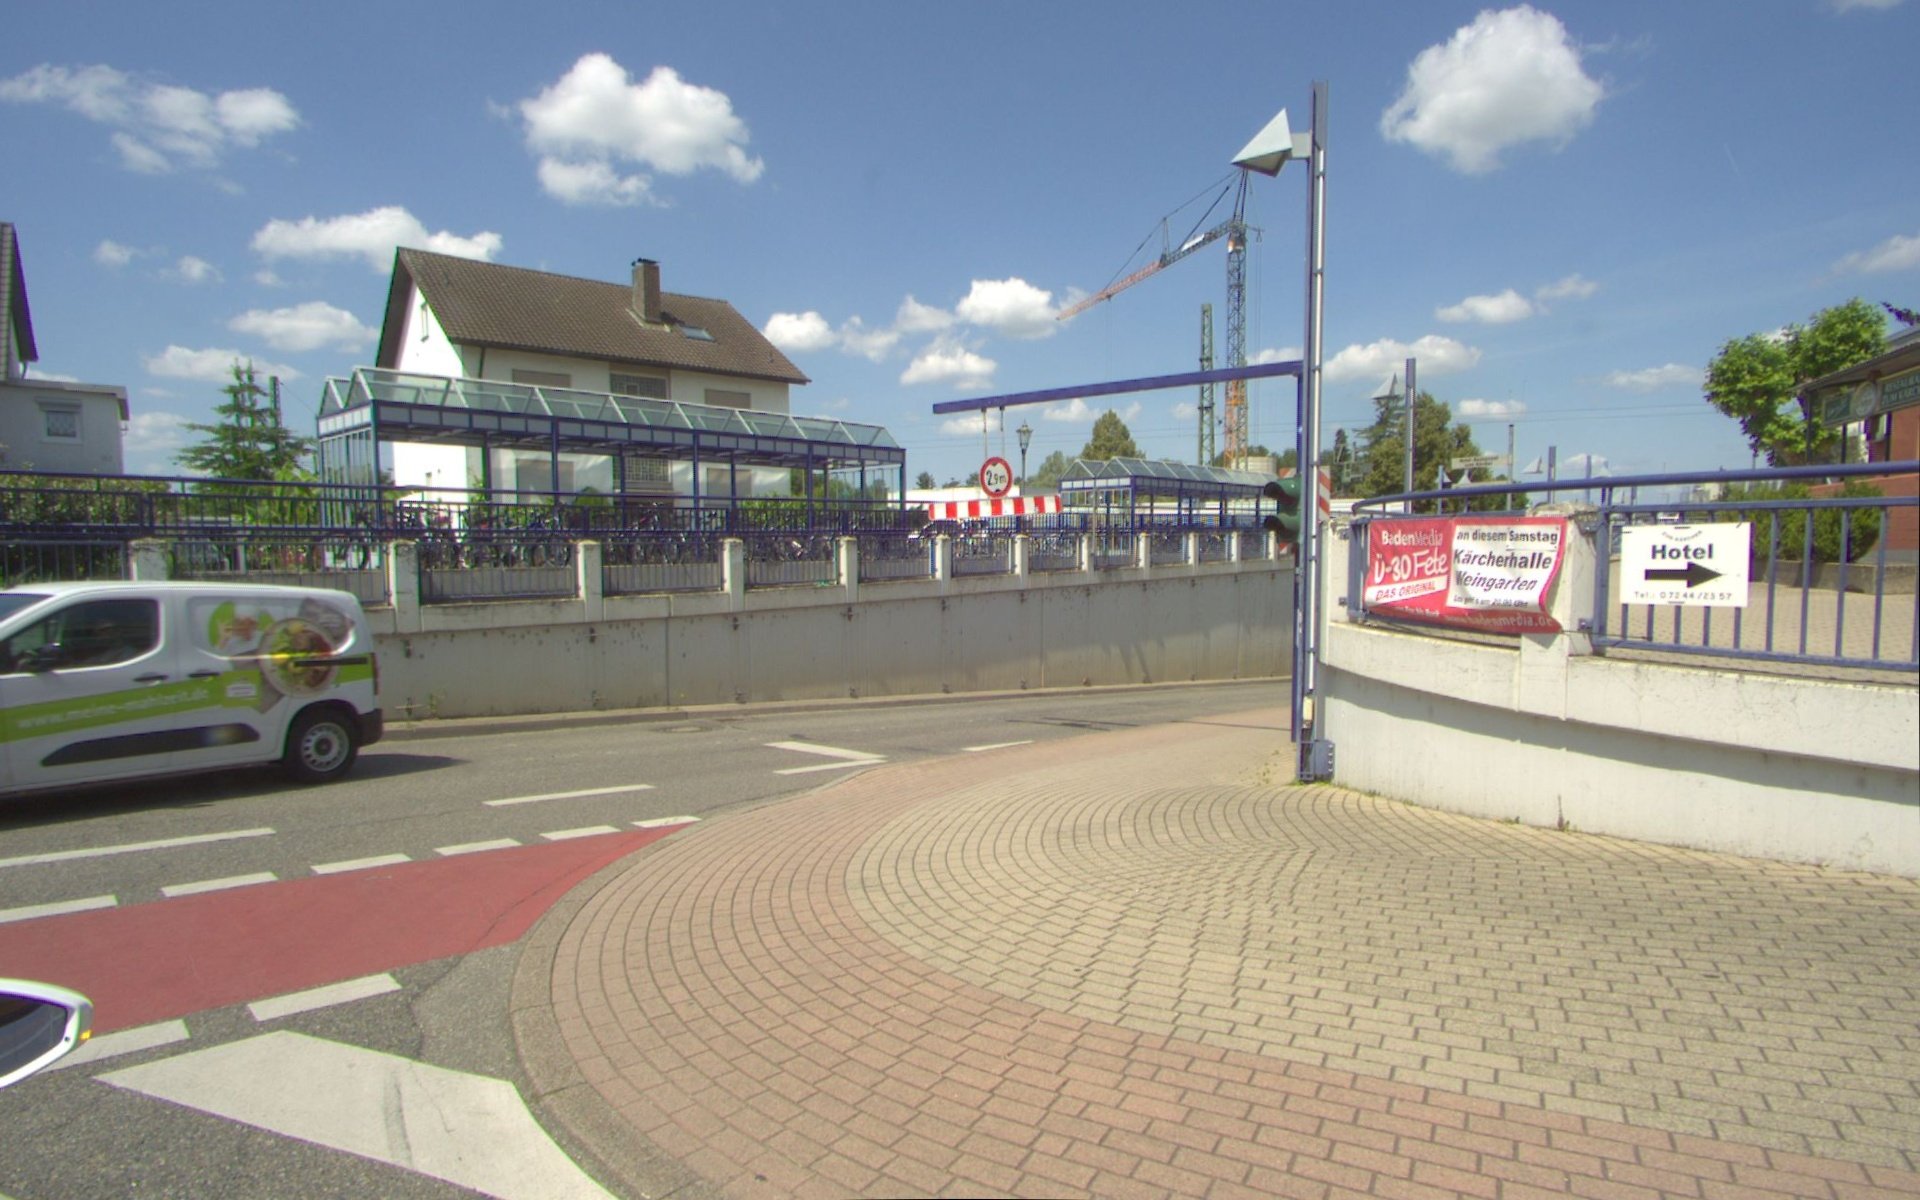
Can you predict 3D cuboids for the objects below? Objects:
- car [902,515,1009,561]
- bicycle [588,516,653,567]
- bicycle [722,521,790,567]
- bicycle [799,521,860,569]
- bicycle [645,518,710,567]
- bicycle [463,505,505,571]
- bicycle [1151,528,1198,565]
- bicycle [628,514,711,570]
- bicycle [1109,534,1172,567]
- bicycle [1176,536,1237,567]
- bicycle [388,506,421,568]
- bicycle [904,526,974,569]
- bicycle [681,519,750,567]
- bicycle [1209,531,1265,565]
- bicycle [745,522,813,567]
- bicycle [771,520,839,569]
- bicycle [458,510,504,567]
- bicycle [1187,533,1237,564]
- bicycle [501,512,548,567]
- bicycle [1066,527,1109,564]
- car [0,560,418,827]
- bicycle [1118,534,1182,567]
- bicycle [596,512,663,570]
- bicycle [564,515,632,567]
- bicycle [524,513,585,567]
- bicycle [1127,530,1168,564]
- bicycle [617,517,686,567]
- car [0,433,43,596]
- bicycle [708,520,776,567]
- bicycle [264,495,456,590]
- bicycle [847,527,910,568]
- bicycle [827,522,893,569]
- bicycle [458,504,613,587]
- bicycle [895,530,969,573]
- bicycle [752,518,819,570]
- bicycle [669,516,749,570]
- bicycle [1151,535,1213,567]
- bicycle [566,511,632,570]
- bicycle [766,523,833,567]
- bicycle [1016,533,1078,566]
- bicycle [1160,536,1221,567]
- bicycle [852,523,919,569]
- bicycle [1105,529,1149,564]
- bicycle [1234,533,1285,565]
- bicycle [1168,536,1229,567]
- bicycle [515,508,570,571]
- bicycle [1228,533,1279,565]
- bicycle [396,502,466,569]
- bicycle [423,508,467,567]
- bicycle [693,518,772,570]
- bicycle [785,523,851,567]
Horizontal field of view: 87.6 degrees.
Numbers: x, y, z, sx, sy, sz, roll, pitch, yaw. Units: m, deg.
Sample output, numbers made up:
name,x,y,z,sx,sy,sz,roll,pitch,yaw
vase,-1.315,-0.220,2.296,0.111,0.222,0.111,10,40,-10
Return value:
name,x,y,z,sx,sy,sz,roll,pitch,yaw
car,-0.209,-2.440,39.927,3.951,1.701,1.984,2,3,40
bicycle,-6.958,-1.189,20.480,1.944,1.009,0.411,3,4,44
bicycle,-4.708,-1.281,23.058,1.944,1.009,0.515,3,4,44
bicycle,-2.896,-1.195,22.070,0.510,1.009,2.025,-2,3,-33
bicycle,-6.113,-1.229,21.587,1.781,1.009,0.515,3,4,44
bicycle,-7.731,-0.985,16.229,0.430,1.009,2.089,-1,3,-30
bicycle,6.925,-1.729,32.380,0.424,1.174,1.588,-2,4,-38
bicycle,-5.511,-1.082,18.920,0.529,1.009,2.257,-2,4,-44
bicycle,5.676,-1.565,31.532,2.001,1.009,0.434,3,4,40
bicycle,8.436,-1.660,34.284,2.001,1.009,0.507,3,4,40
bicycle,-9.591,-1.074,17.283,0.450,1.009,1.877,-1,3,-30
bicycle,-0.539,-1.284,24.616,0.540,1.009,2.019,-2,4,-43
bicycle,-5.360,-1.237,21.891,1.944,1.009,0.515,3,4,44
bicycle,9.979,-1.862,36.083,1.900,1.174,0.507,3,4,42
bicycle,-4.258,-1.295,23.471,1.944,1.009,0.515,3,4,44
bicycle,-3.351,-1.176,21.540,0.511,1.009,2.021,-2,3,-39
bicycle,-8.956,-1.128,18.693,0.369,1.009,1.950,-2,3,-37
bicycle,9.560,-1.947,38.095,1.801,1.174,0.507,3,4,42
bicycle,-8.312,-1.139,19.072,0.369,1.009,1.950,-2,3,-37
bicycle,4.161,-1.761,32.739,0.382,1.174,1.588,-2,4,-38
car,-7.160,0.671,8.288,1.787,1.879,4.548,2,-1,24
bicycle,6.062,-1.582,32.011,2.001,1.009,0.507,3,4,40
bicycle,-6.107,-1.066,18.439,0.431,1.009,2.262,-2,3,-38
bicycle,-7.295,-1.177,20.146,1.944,1.009,0.470,3,4,44
bicycle,-7.973,-1.160,19.635,0.423,1.009,1.946,-2,4,-43
bicycle,6.625,-1.857,35.447,0.382,1.174,1.588,-2,4,-38
bicycle,-6.487,-1.208,21.016,1.944,1.009,0.515,3,4,44
car,-12.866,-1.009,12.446,1.979,1.820,4.159,2,-1,-41
bicycle,-4.910,-1.258,22.473,1.944,1.009,0.515,3,4,44
bicycle,-7.694,-0.717,12.942,0.329,1.141,2.103,3,4,42
bicycle,-2.092,-1.331,25.510,0.539,1.009,2.020,-2,3,-40
bicycle,-2.275,-1.208,22.489,0.511,1.009,2.023,-2,3,-37
bicycle,-6.151,-0.777,14.640,0.388,1.141,2.103,3,4,42
bicycle,-0.711,-1.188,24.698,2.138,1.009,0.434,3,4,43
bicycle,-3.640,-1.146,20.763,0.573,1.009,2.173,-1,3,-32
bicycle,-4.976,-1.113,19.756,0.529,1.009,2.165,-2,4,-44
bicycle,7.328,-1.620,33.138,2.001,1.009,0.507,3,4,40
bicycle,-6.529,-1.052,18.041,0.431,1.009,2.262,-2,3,-38
bicycle,-3.834,-1.309,23.874,1.944,1.009,0.515,3,4,44
bicycle,2.701,-1.568,31.163,2.001,1.009,0.507,3,4,40
bicycle,7.719,-1.636,33.584,2.001,1.009,0.507,3,4,40
bicycle,-1.742,-1.230,23.106,0.539,1.009,2.023,-2,3,-37
bicycle,5.640,-1.799,33.877,0.382,1.174,1.588,-2,4,-38
bicycle,11.351,-1.931,37.972,1.801,1.174,0.507,3,4,42
bicycle,8.080,-1.650,33.977,2.001,1.009,0.507,3,4,40
bicycle,-7.137,-1.017,17.078,0.431,1.009,2.087,-2,3,-34
bicycle,11.000,-1.916,37.558,1.801,1.174,0.507,3,4,42
bicycle,-8.505,-1.017,16.061,2.052,1.009,0.330,3,4,43
bicycle,-9.206,-1.096,17.874,0.369,1.009,1.950,-2,3,-37
bicycle,-4.659,-1.138,20.410,0.529,1.009,2.165,-2,4,-44
bicycle,-3.457,-1.323,24.272,1.944,1.009,0.515,3,4,44
